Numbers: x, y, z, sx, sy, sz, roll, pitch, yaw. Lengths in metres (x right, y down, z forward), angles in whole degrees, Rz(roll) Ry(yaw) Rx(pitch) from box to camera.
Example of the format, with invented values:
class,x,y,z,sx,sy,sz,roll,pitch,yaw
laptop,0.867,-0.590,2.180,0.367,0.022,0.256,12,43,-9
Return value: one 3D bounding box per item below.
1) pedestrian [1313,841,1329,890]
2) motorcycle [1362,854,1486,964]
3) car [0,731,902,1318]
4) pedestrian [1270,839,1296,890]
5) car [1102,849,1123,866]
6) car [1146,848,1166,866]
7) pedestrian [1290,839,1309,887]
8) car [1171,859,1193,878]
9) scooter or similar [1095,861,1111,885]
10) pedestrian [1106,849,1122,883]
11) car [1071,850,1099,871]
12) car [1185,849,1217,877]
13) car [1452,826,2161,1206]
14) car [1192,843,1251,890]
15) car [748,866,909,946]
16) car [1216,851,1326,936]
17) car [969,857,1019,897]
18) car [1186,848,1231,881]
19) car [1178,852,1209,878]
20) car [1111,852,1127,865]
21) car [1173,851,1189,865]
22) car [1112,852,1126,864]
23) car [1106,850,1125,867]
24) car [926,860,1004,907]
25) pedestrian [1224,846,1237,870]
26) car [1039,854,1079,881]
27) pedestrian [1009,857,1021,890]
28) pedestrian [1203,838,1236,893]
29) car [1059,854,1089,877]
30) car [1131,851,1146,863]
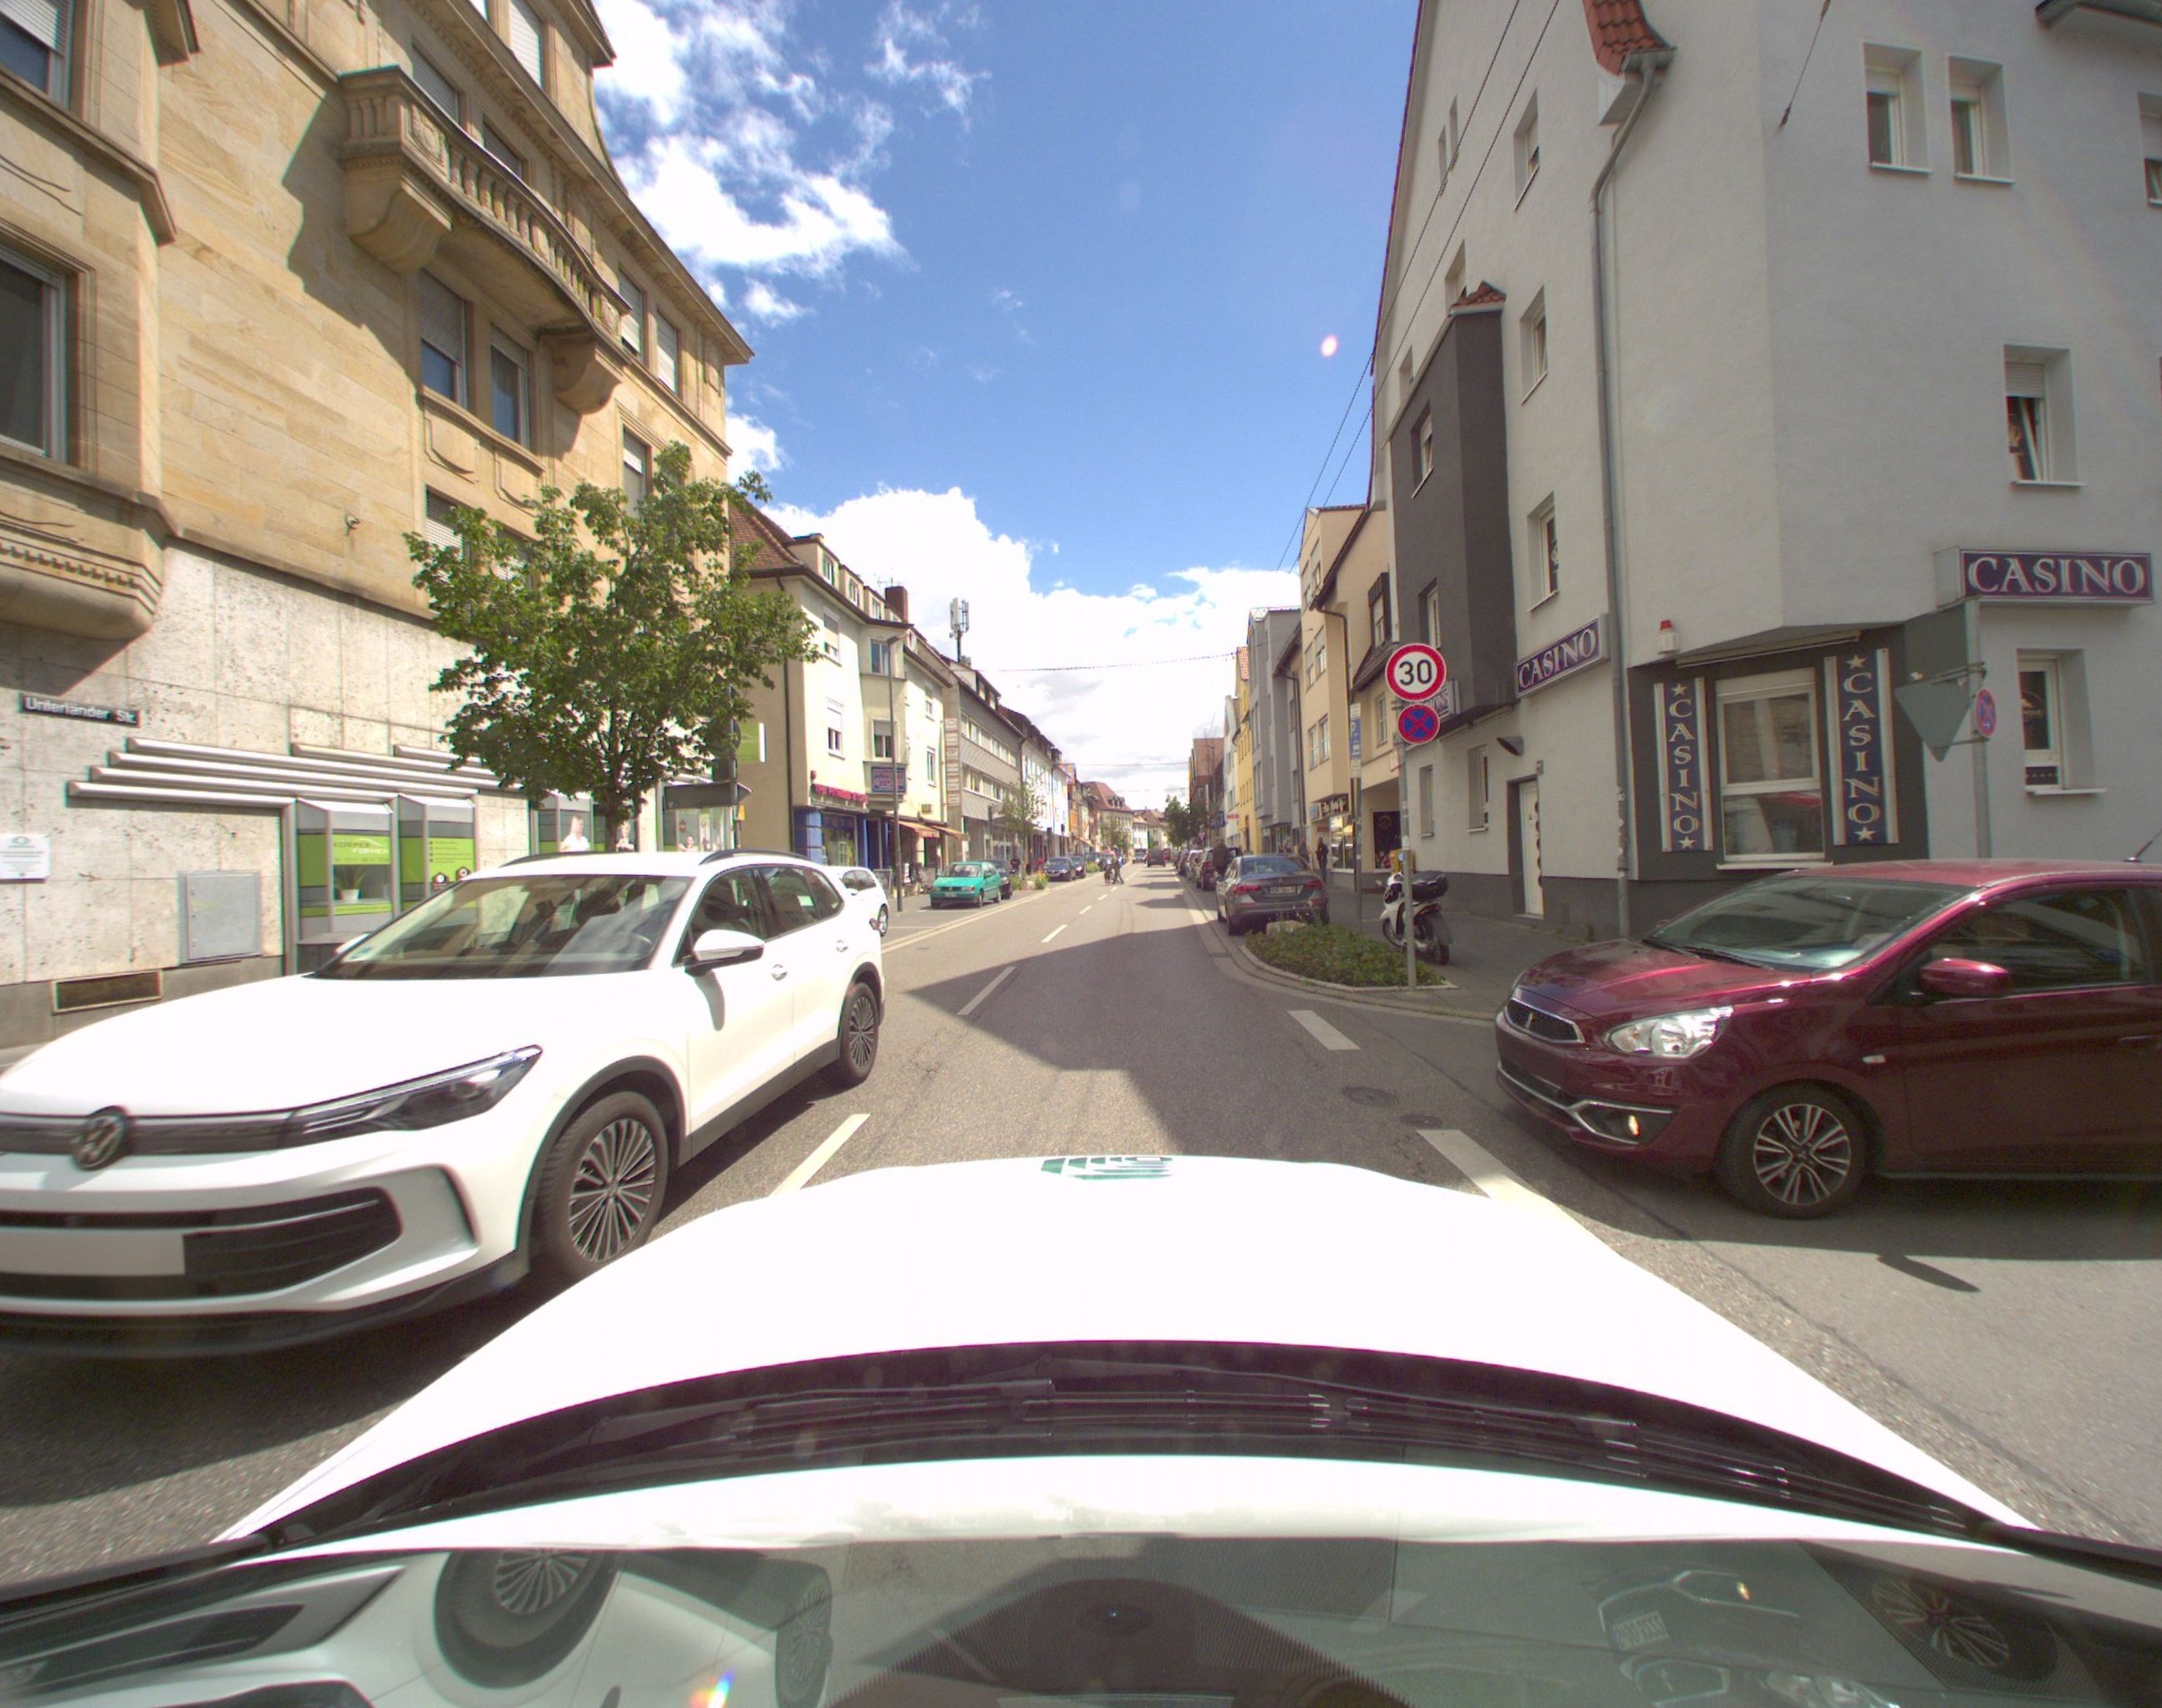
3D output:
class,x,y,z,sx,sy,sz,roll,pitch,yaw
pedestrian,8.498,0.417,28.853,0.434,1.718,0.537,0,-1,3
motorcycle,4.344,0.642,10.525,0.656,1.259,2.377,0,-1,2
car,-2.486,0.505,4.403,1.779,1.640,4.122,0,-1,5
pedestrian,7.043,0.366,28.417,0.740,1.718,0.656,-2,-1,4
car,3.356,0.389,85.155,1.806,1.755,4.473,-1,-1,7
car,7.833,0.318,84.854,2.030,1.848,5.007,0,-1,6
pedestrian,7.832,0.322,29.253,0.533,1.718,0.607,0,-1,4
car,8.779,1.244,71.230,1.713,1.577,4.114,0,-1,4
scooter or similar,1.053,0.926,39.050,0.779,1.126,0.630,0,-1,1
pedestrian,1.573,0.593,39.049,0.728,1.618,0.651,0,-1,1
car,0.397,0.600,72.306,1.806,1.755,4.680,-1,-1,9
car,6.887,0.519,46.979,1.681,1.574,3.762,0,-1,6
car,4.077,0.666,4.088,3.729,1.530,1.539,0,-1,4
car,5.333,0.449,31.354,1.791,1.603,4.209,-4,0,4
car,-4.922,0.953,16.514,1.838,1.398,4.039,0,-1,3
car,3.542,0.699,15.840,1.697,1.420,4.328,-1,-1,8
car,-3.265,0.852,30.978,1.592,1.446,3.555,0,-1,-1
car,6.319,0.547,40.812,1.682,1.440,4.298,-4,-1,2
car,7.013,0.666,51.177,1.681,1.472,4.530,0,1,5
car,5.007,0.565,105.713,1.790,1.598,4.396,-1,0,6
car,11.190,0.501,91.433,1.712,1.494,4.117,-1,-1,7
car,5.175,0.577,111.256,1.792,1.604,4.354,-2,0,3
car,4.007,0.527,93.019,1.807,1.889,4.849,-1,-1,7
car,-3.658,0.912,26.265,1.577,1.414,3.675,-1,-1,7
pedestrian,9.844,0.294,53.712,0.746,1.553,0.727,-2,-1,5
car,-1.265,0.781,49.443,1.781,1.513,4.720,-1,0,6
pedestrian,-3.495,1.036,43.155,0.546,1.757,0.729,0,-1,2
pedestrian,4.900,0.401,28.883,0.971,1.863,0.865,-4,-1,4
car,-0.417,0.776,55.452,1.783,1.503,4.181,0,0,2
car,8.011,0.469,113.860,1.895,1.563,4.653,0,-1,6
